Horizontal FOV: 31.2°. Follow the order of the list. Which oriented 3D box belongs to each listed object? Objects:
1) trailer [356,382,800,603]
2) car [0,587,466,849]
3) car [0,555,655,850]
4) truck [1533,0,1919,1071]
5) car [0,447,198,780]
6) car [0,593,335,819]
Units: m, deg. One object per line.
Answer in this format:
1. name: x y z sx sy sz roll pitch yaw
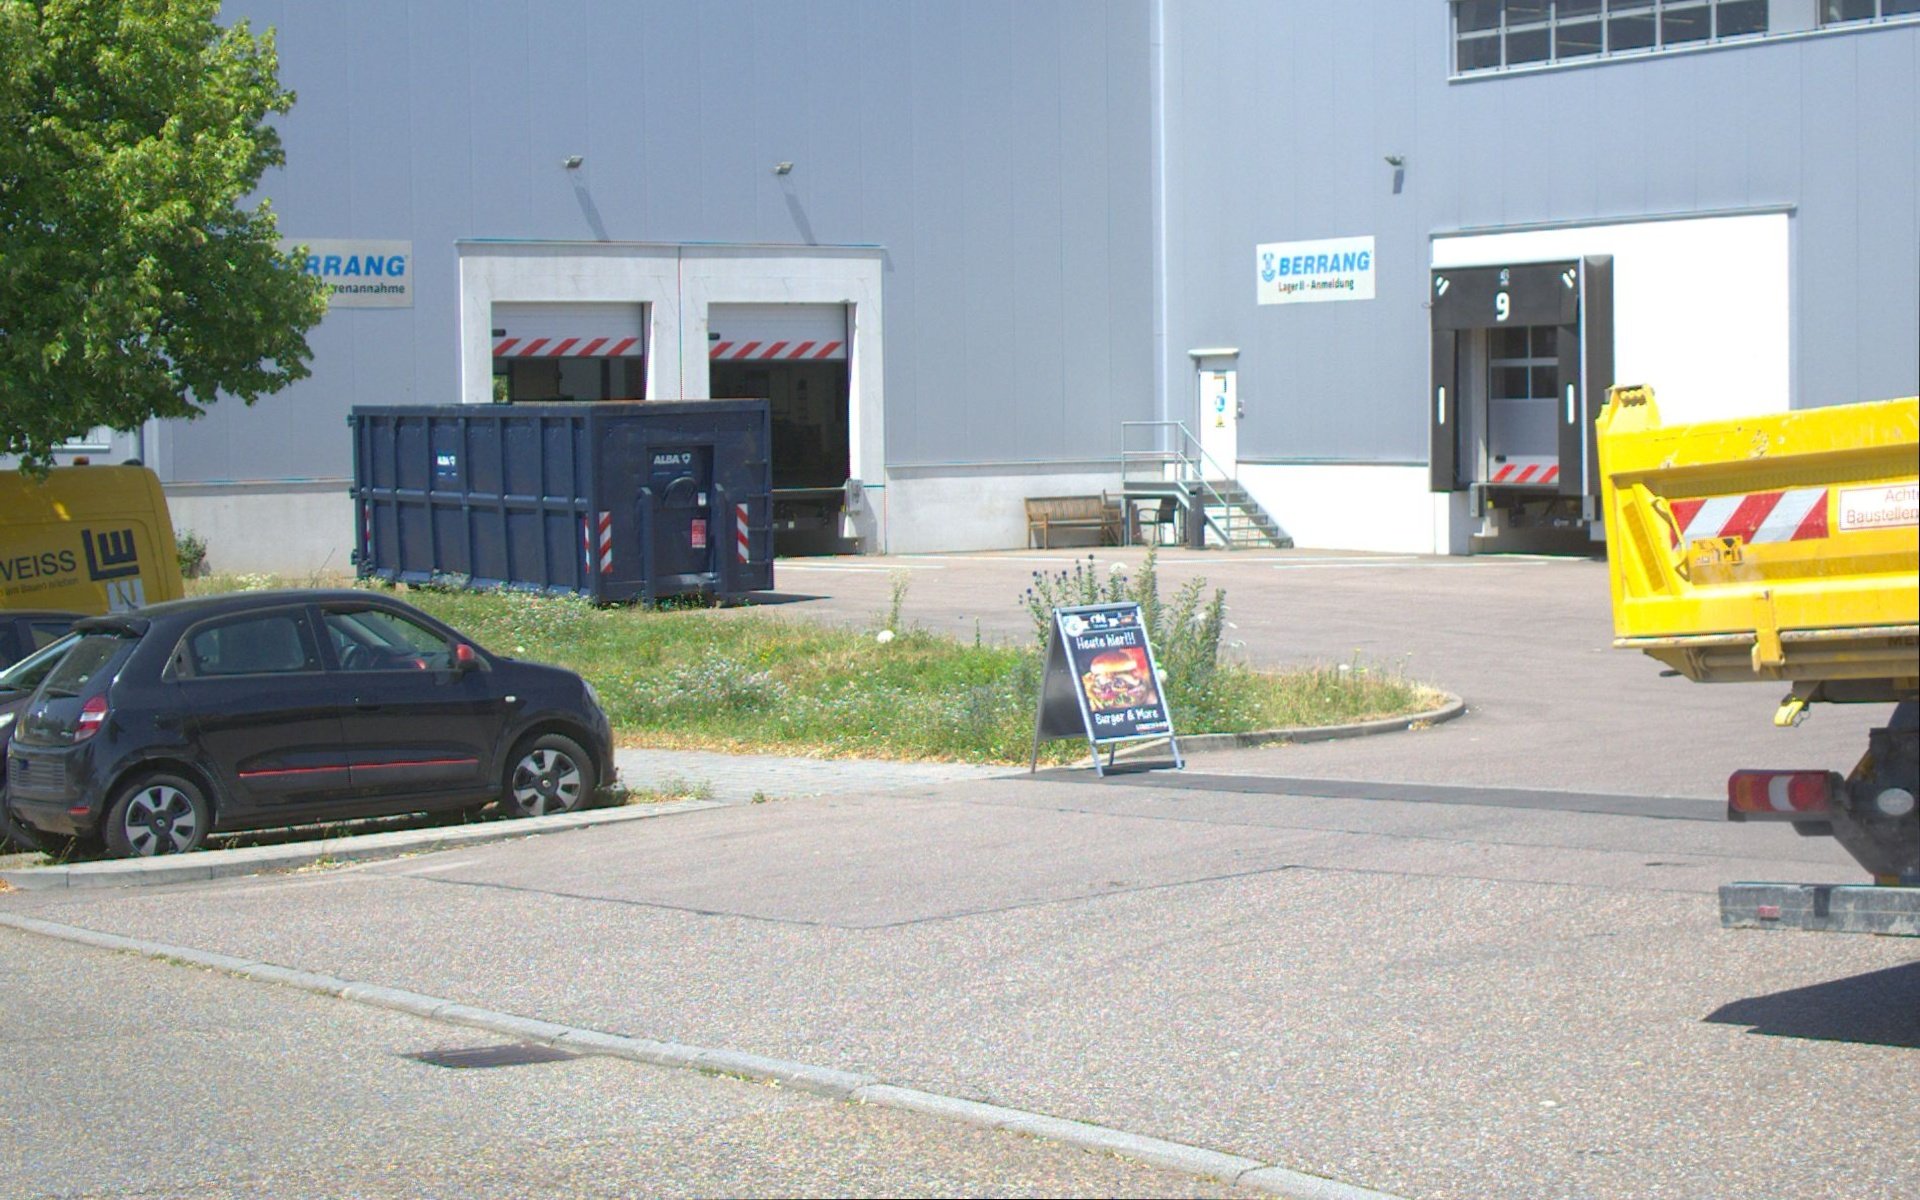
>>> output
1. trailer: -5.017 -1.457 43.666 2.659 2.412 7.415 -1 5 -32
2. car: -5.345 0.736 22.709 3.771 1.502 1.590 -3 2 -36
3. car: -3.895 0.558 20.939 3.661 1.457 1.627 -4 3 -33
4. truck: 5.060 -0.537 10.865 6.406 3.125 2.595 -5 2 -37
5. car: -9.548 0.174 28.771 5.780 2.723 2.000 -4 4 -35
6. car: -6.569 0.752 24.981 3.603 1.473 1.628 -2 2 -35
